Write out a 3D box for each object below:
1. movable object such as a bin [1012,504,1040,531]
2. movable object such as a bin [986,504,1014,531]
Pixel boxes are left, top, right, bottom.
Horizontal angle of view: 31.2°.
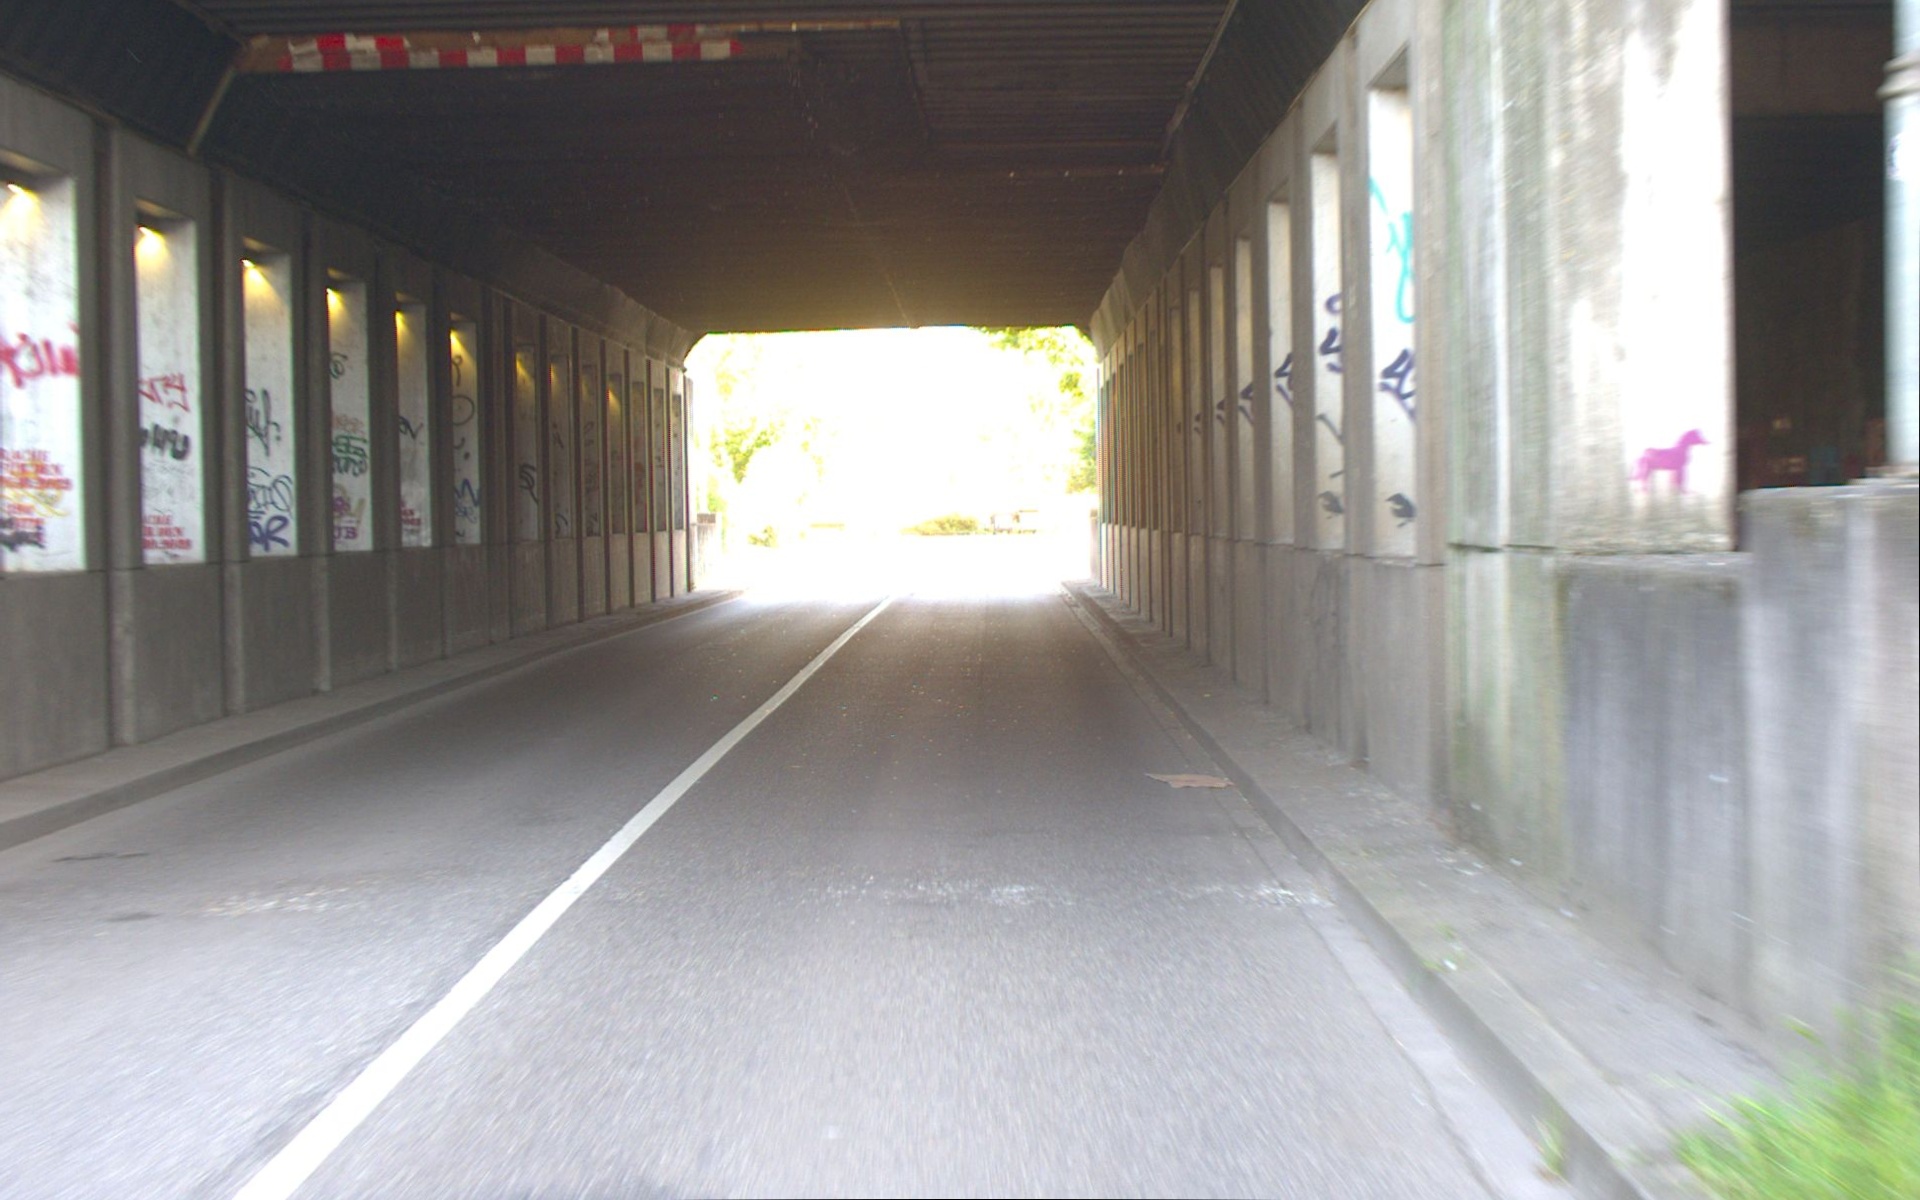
[{"bbox_3d":[3.574,-4.447,185.636,1.364,1.413,1.066,1,1,-6],"label":"movable object such as a bin"},{"bbox_3d":[2.142,-4.470,185.486,1.364,1.413,1.066,1,1,-6],"label":"movable object such as a bin"}]
